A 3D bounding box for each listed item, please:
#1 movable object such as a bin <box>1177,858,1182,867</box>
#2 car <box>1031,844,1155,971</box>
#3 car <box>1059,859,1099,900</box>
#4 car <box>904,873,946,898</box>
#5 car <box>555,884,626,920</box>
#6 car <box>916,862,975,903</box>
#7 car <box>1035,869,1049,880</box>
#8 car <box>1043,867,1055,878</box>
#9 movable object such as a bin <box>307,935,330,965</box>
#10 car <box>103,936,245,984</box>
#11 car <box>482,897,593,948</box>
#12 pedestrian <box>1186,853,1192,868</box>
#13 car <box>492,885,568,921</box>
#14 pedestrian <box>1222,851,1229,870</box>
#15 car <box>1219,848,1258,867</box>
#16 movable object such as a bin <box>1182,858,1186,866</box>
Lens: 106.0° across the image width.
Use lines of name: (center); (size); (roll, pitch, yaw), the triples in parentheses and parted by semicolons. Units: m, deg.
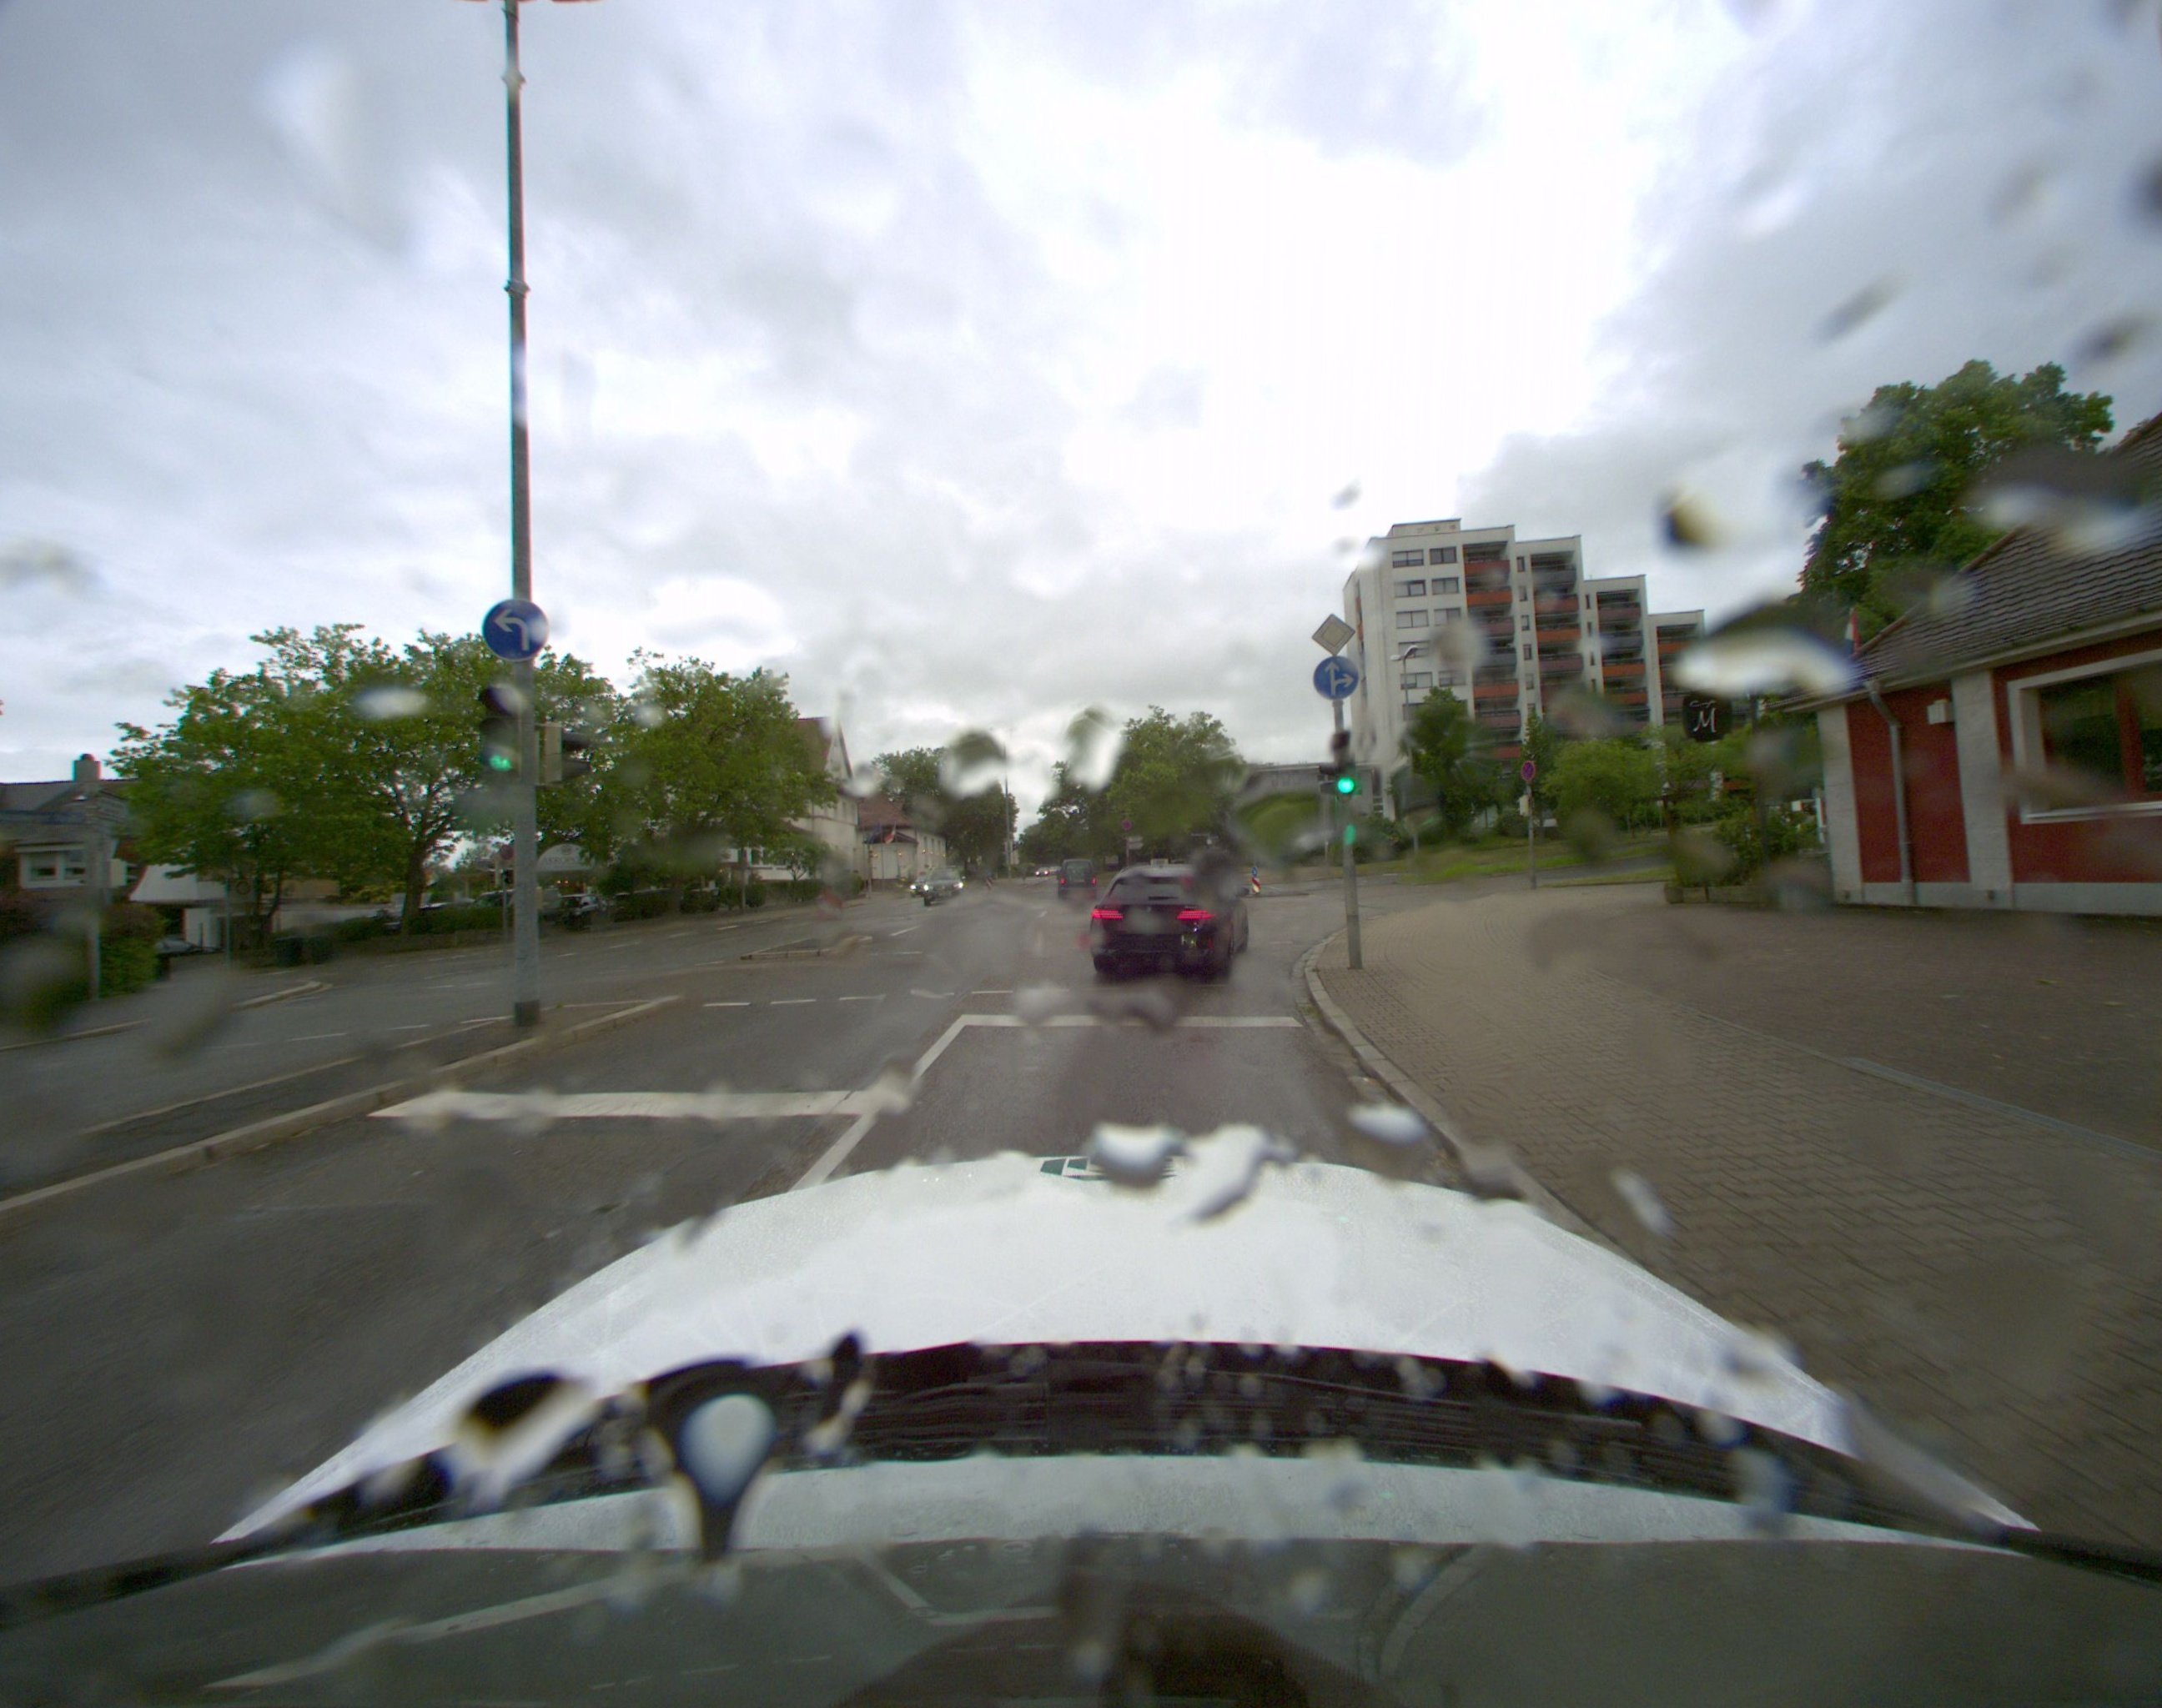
movable object such as a bin: (11.003, 0.941, 90.799); (0.446, 0.906, 0.465); (-2, -2, 17)
car: (0.111, 0.710, 11.876); (1.520, 1.534, 3.529); (-1, -2, -1)
car: (-0.131, 1.201, 38.923); (1.807, 1.809, 3.754); (-1, -2, -2)
car: (-10.159, 2.036, 53.368); (1.903, 1.427, 4.412); (-3, 0, -2)
car: (-29.750, 2.871, 49.565); (1.989, 2.014, 3.996); (-1, -2, -3)
car: (-5.905, 1.198, 35.939); (1.893, 1.577, 4.499); (-3, 0, -2)
car: (-5.940, 3.180, 124.861); (1.788, 1.527, 4.207); (-3, 0, -1)
car: (-5.466, 3.187, 140.825); (1.824, 1.671, 4.049); (-3, 0, -1)
movable object such as a bin: (-27.403, 3.440, 29.258); (0.446, 1.043, 0.413); (-2, -2, 17)
car: (-37.044, 4.288, 33.395); (1.800, 1.554, 3.499); (-1, -2, 1)
car: (-21.952, 2.708, 33.110); (1.803, 1.551, 4.000); (-1, 2, 0)
pedestrian: (12.613, 0.796, 94.971); (0.556, 1.763, 0.727); (-1, -2, -3)
car: (-33.132, 2.918, 49.104); (1.989, 2.014, 3.996); (-1, -2, -3)
pedestrian: (12.609, 0.553, 71.027); (0.597, 1.617, 0.526); (-1, -2, 8)
car: (16.758, 0.394, 86.952); (3.963, 1.816, 2.005); (-1, -2, 9)
movable object such as a bin: (11.474, 0.928, 90.681); (0.446, 0.906, 0.465); (-2, -2, 17)
